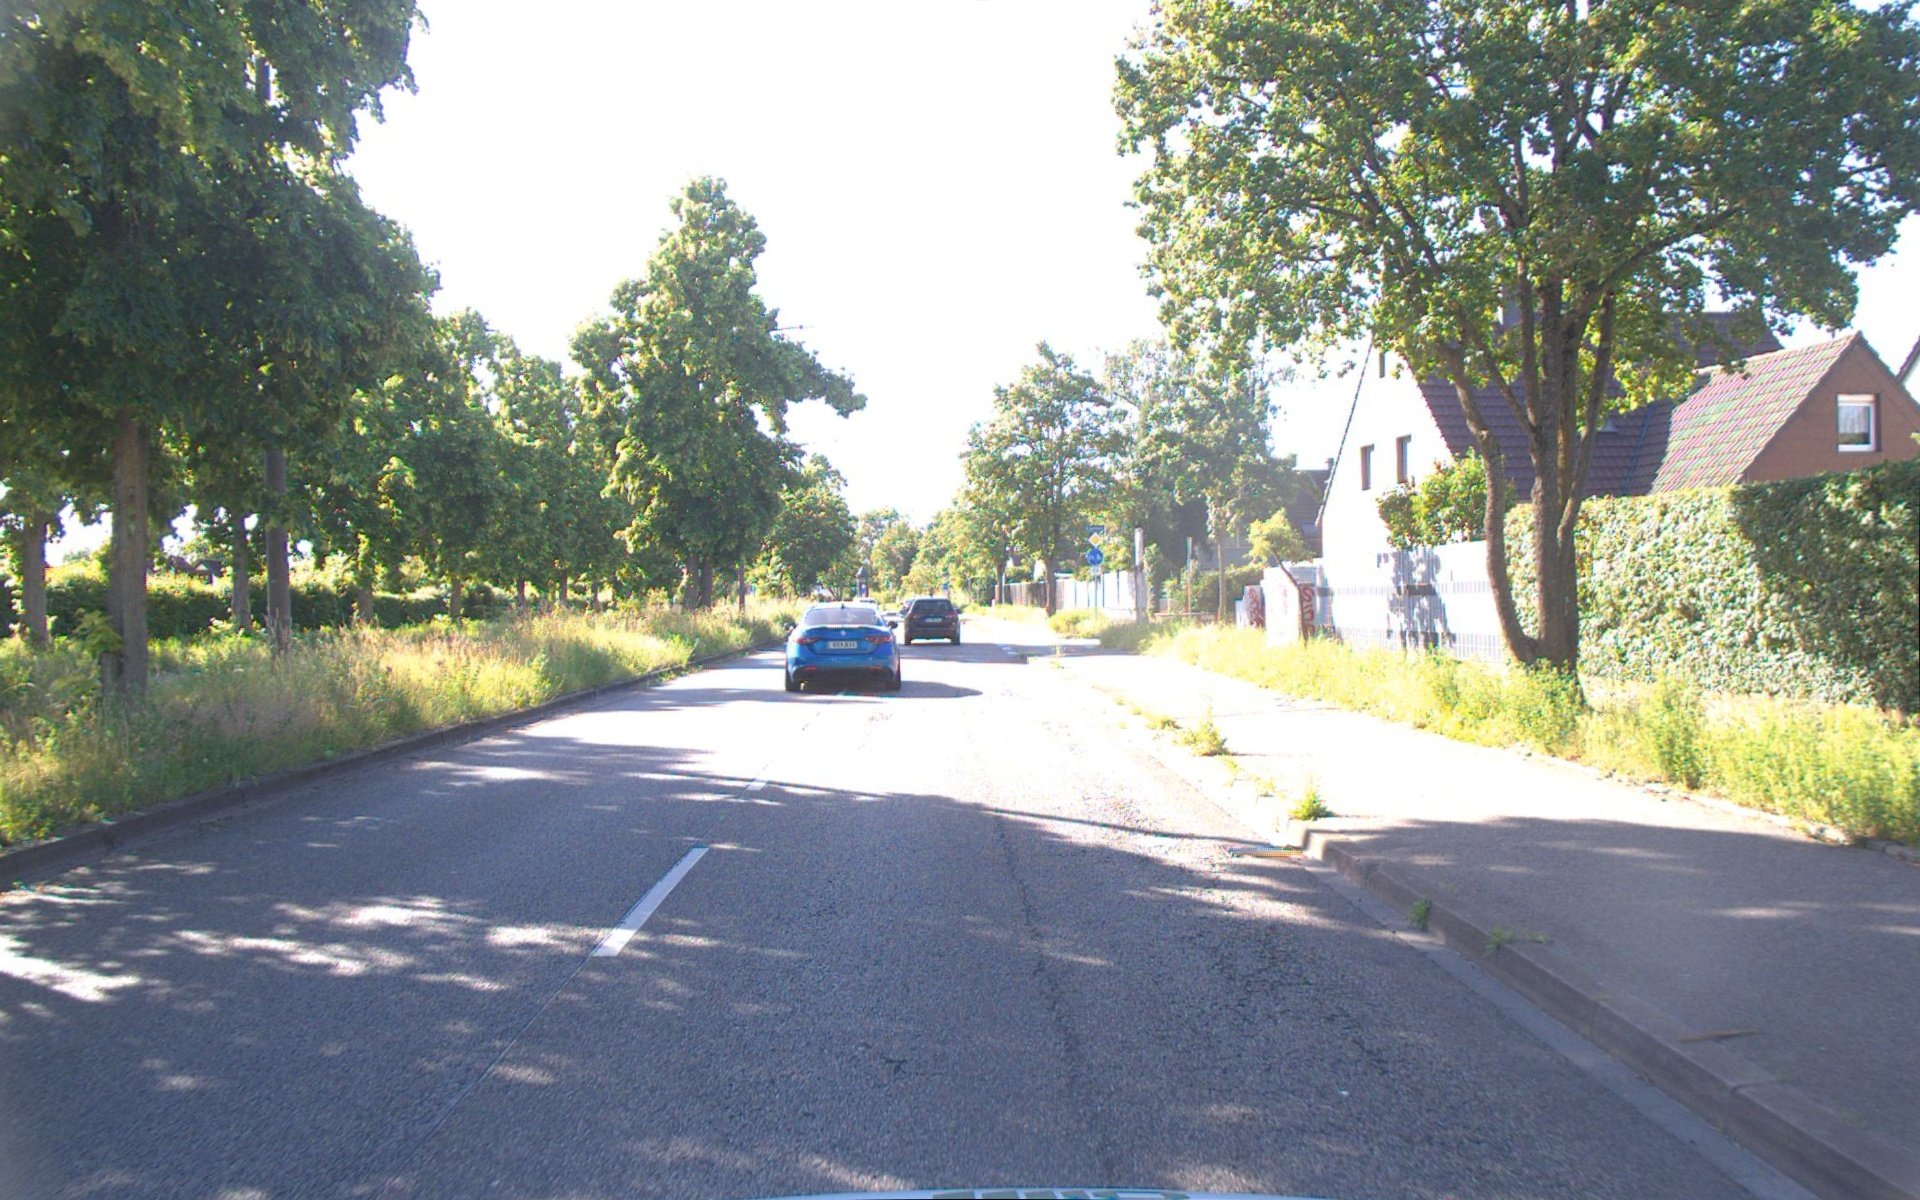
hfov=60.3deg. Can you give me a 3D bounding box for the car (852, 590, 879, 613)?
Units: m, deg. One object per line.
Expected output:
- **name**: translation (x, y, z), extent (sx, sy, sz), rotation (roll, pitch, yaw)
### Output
- **car**: translation (-6.569, 0.099, 115.052), extent (1.877, 1.538, 4.065), rotation (0, 0, -3)

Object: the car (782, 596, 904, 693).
- **car**: translation (-1.897, 0.698, 27.959), extent (1.801, 1.500, 4.184), rotation (0, 0, -1)

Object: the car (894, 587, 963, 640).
- **car**: translation (-1.023, 0.403, 52.144), extent (1.878, 1.607, 4.178), rotation (0, 0, -5)
